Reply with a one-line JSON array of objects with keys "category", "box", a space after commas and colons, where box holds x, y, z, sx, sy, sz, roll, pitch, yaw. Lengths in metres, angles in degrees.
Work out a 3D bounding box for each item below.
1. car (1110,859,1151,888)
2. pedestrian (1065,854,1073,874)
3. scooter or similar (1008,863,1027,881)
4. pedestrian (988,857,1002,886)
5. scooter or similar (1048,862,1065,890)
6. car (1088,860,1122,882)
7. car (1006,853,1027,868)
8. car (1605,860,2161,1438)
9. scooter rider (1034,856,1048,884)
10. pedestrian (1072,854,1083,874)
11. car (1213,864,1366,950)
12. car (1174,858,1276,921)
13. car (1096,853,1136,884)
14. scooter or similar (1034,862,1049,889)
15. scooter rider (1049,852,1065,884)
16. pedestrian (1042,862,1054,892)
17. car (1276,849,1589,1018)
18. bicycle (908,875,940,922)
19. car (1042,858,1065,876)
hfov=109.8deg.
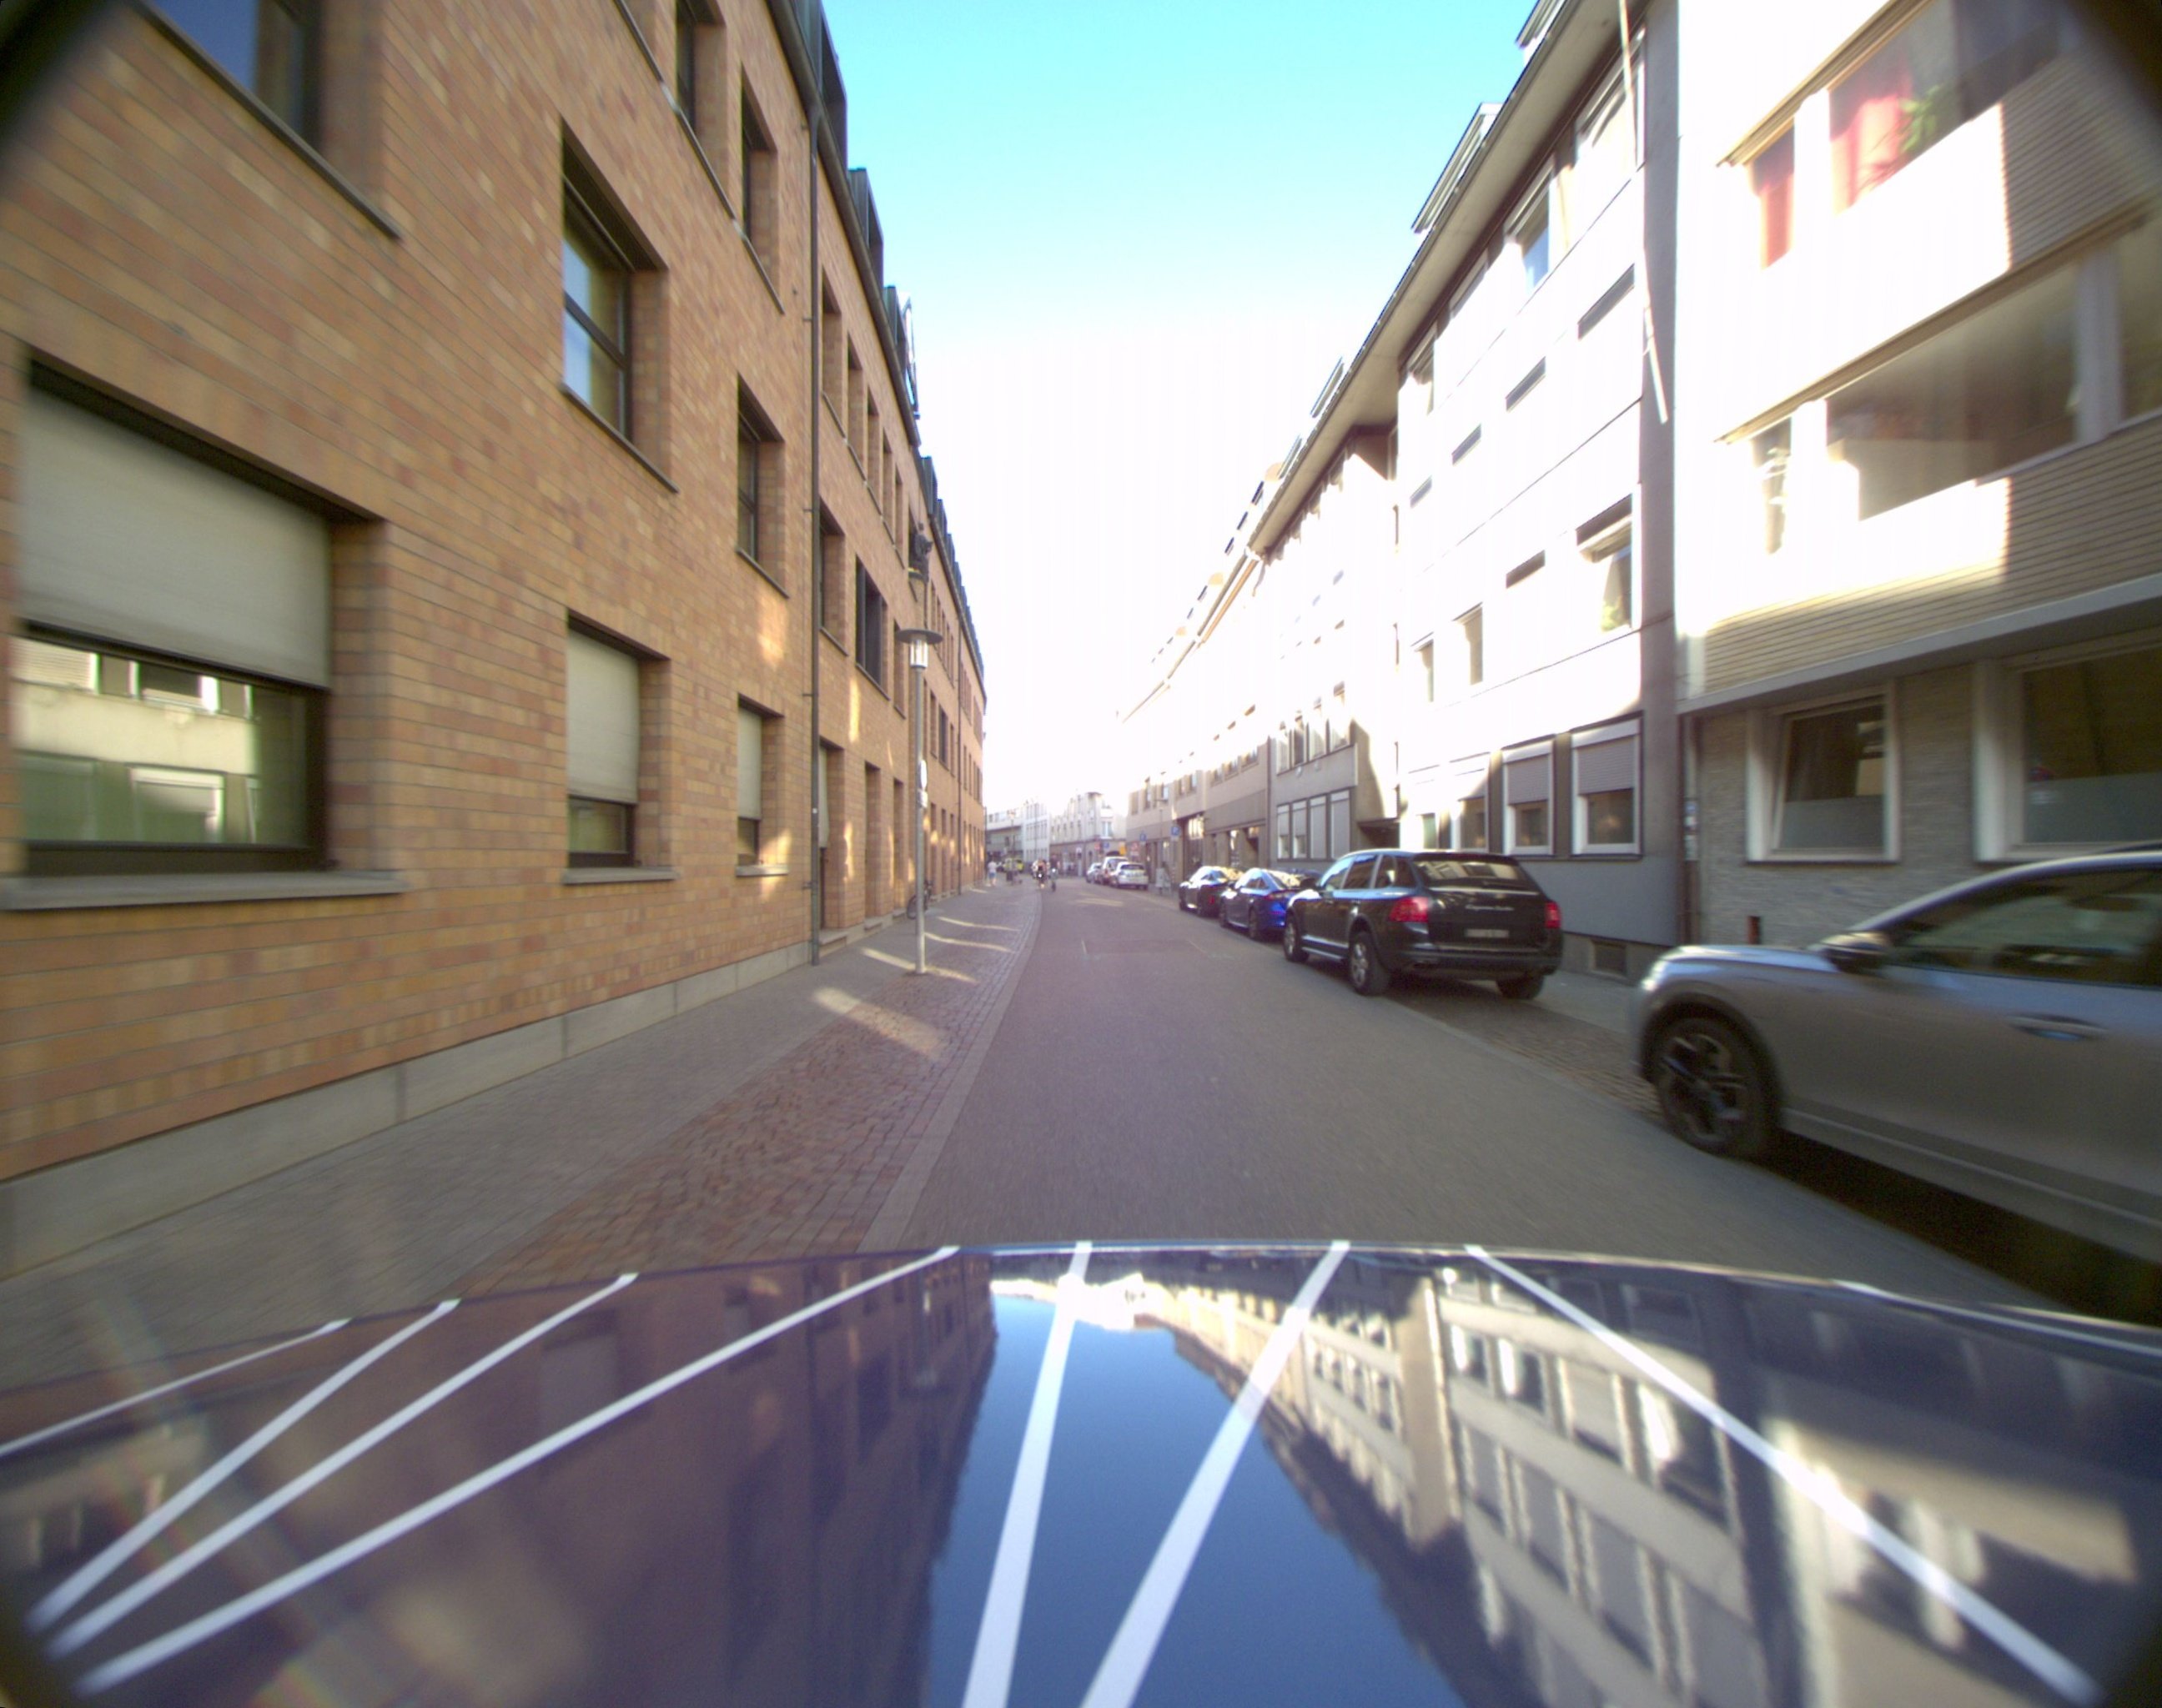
[{"category": "car", "box": [2.745, 1.054, 43.153, 1.675, 1.513, 3.773, 2, 0, -6]}, {"category": "pedestrian", "box": [-1.233, 0.988, 77.395, 0.716, 2.002, 0.698, 0, 0, -15]}, {"category": "scooter or similar", "box": [-4.419, 1.255, 52.969, 0.537, 1.228, 1.422, -1, 0, 34]}, {"category": "pedestrian", "box": [-5.162, 1.051, 45.747, 0.762, 1.706, 0.821, 2, 0, -4]}, {"category": "scooter or similar", "box": [-1.256, 1.082, 38.719, 0.524, 1.388, 1.553, 0, 0, -14]}, {"category": "car", "box": [1.689, 1.216, 55.124, 1.743, 1.483, 3.796, 1, 0, -9]}, {"category": "car", "box": [-8.648, 0.879, 101.092, 1.891, 1.863, 3.994, 2, 0, -17]}, {"category": "car", "box": [4.197, 0.895, 2.470, 1.895, 1.732, 4.390, 0, 0, -1]}, {"category": "scooter rider", "box": [-2.183, 0.864, 41.360, 0.592, 1.500, 0.599, -2, 1, -14]}, {"category": "pedestrian", "box": [-0.338, 0.998, 77.648, 0.938, 2.002, 0.698, 0, 0, -15]}, {"category": "car", "box": [4.177, 0.992, 16.019, 1.895, 1.521, 4.339, 0, 0, -2]}, {"category": "car", "box": [4.015, 0.944, 22.043, 1.895, 1.521, 4.728, 3, 0, -2]}, {"category": "car", "box": [2.242, 0.910, 49.342, 1.905, 1.846, 4.731, 1, 0, -6]}, {"category": "scooter or similar", "box": [-2.158, 1.152, 41.262, 0.551, 1.388, 1.553, 0, 0, -14]}, {"category": "scooter rider", "box": [-1.246, 0.720, 38.720, 0.648, 1.584, 0.599, -2, 1, -14]}, {"category": "pedestrian", "box": [-2.255, 1.581, 51.983, 0.716, 2.002, 0.698, 0, 0, -15]}, {"category": "car", "box": [4.067, 0.797, 9.798, 1.895, 1.666, 4.553, 0, 0, -1]}, {"category": "bicycle", "box": [-4.101, 1.144, 19.939, 0.551, 1.097, 1.981, 3, 0, -6]}, {"category": "car", "box": [-2.440, 1.144, 66.917, 1.720, 1.508, 4.157, 0, 0, -7]}]
